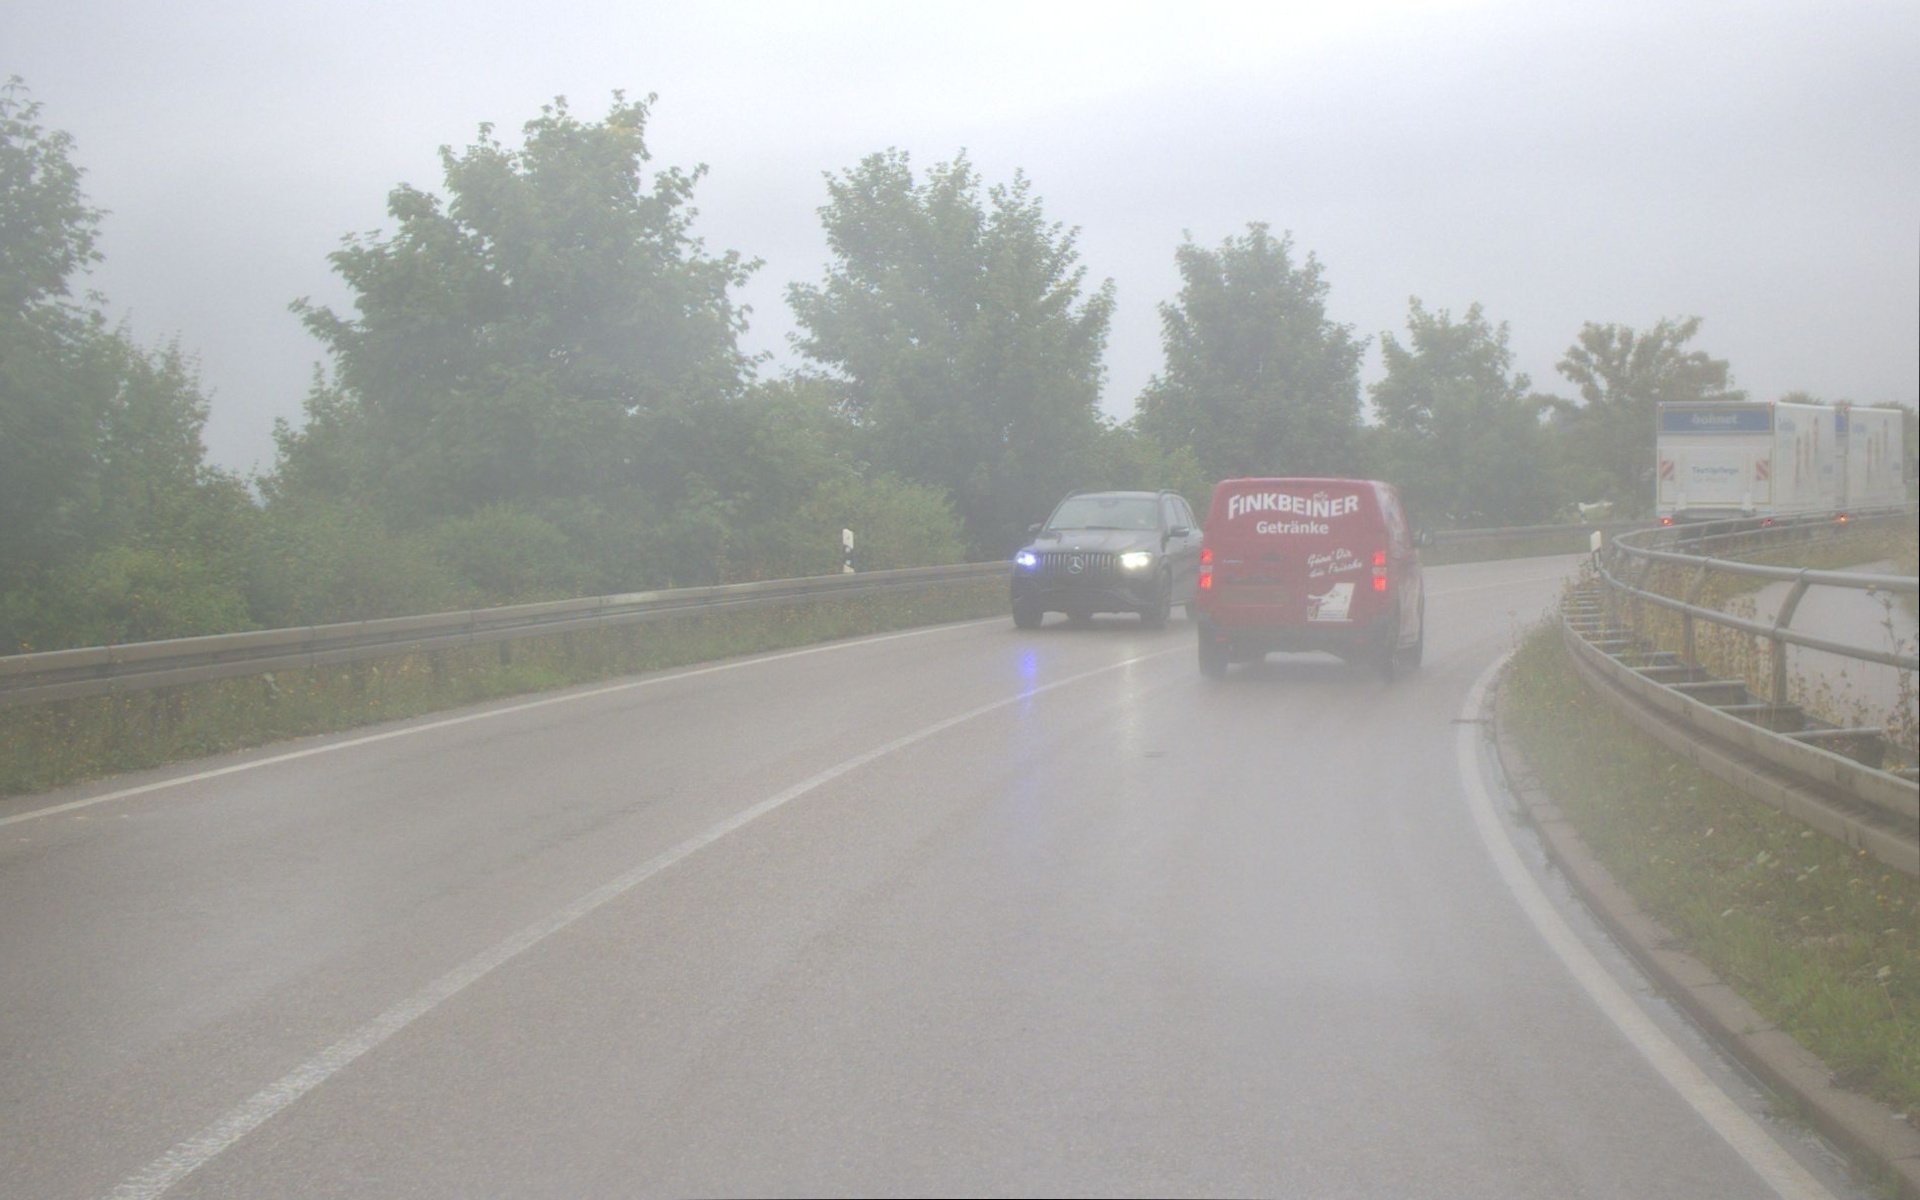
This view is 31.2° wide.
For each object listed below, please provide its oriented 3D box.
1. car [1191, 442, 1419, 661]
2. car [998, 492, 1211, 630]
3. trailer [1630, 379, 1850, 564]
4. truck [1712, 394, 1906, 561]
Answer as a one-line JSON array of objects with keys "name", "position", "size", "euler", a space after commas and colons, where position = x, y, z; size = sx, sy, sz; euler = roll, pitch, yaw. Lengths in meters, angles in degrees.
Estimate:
[{"name": "car", "position": [3.420, -0.522, 33.525], "size": [1.994, 1.919, 4.142], "euler": [-2, 2, 7]}, {"name": "car", "position": [1.942, -0.535, 44.901], "size": [1.995, 1.721, 3.998], "euler": [0, 1, 14]}, {"name": "trailer", "position": [17.607, -2.815, 77.152], "size": [3.205, 3.908, 8.729], "euler": [1, 1, 24]}, {"name": "truck", "position": [21.123, -2.977, 85.155], "size": [3.205, 3.908, 8.729], "euler": [1, 1, 24]}]
